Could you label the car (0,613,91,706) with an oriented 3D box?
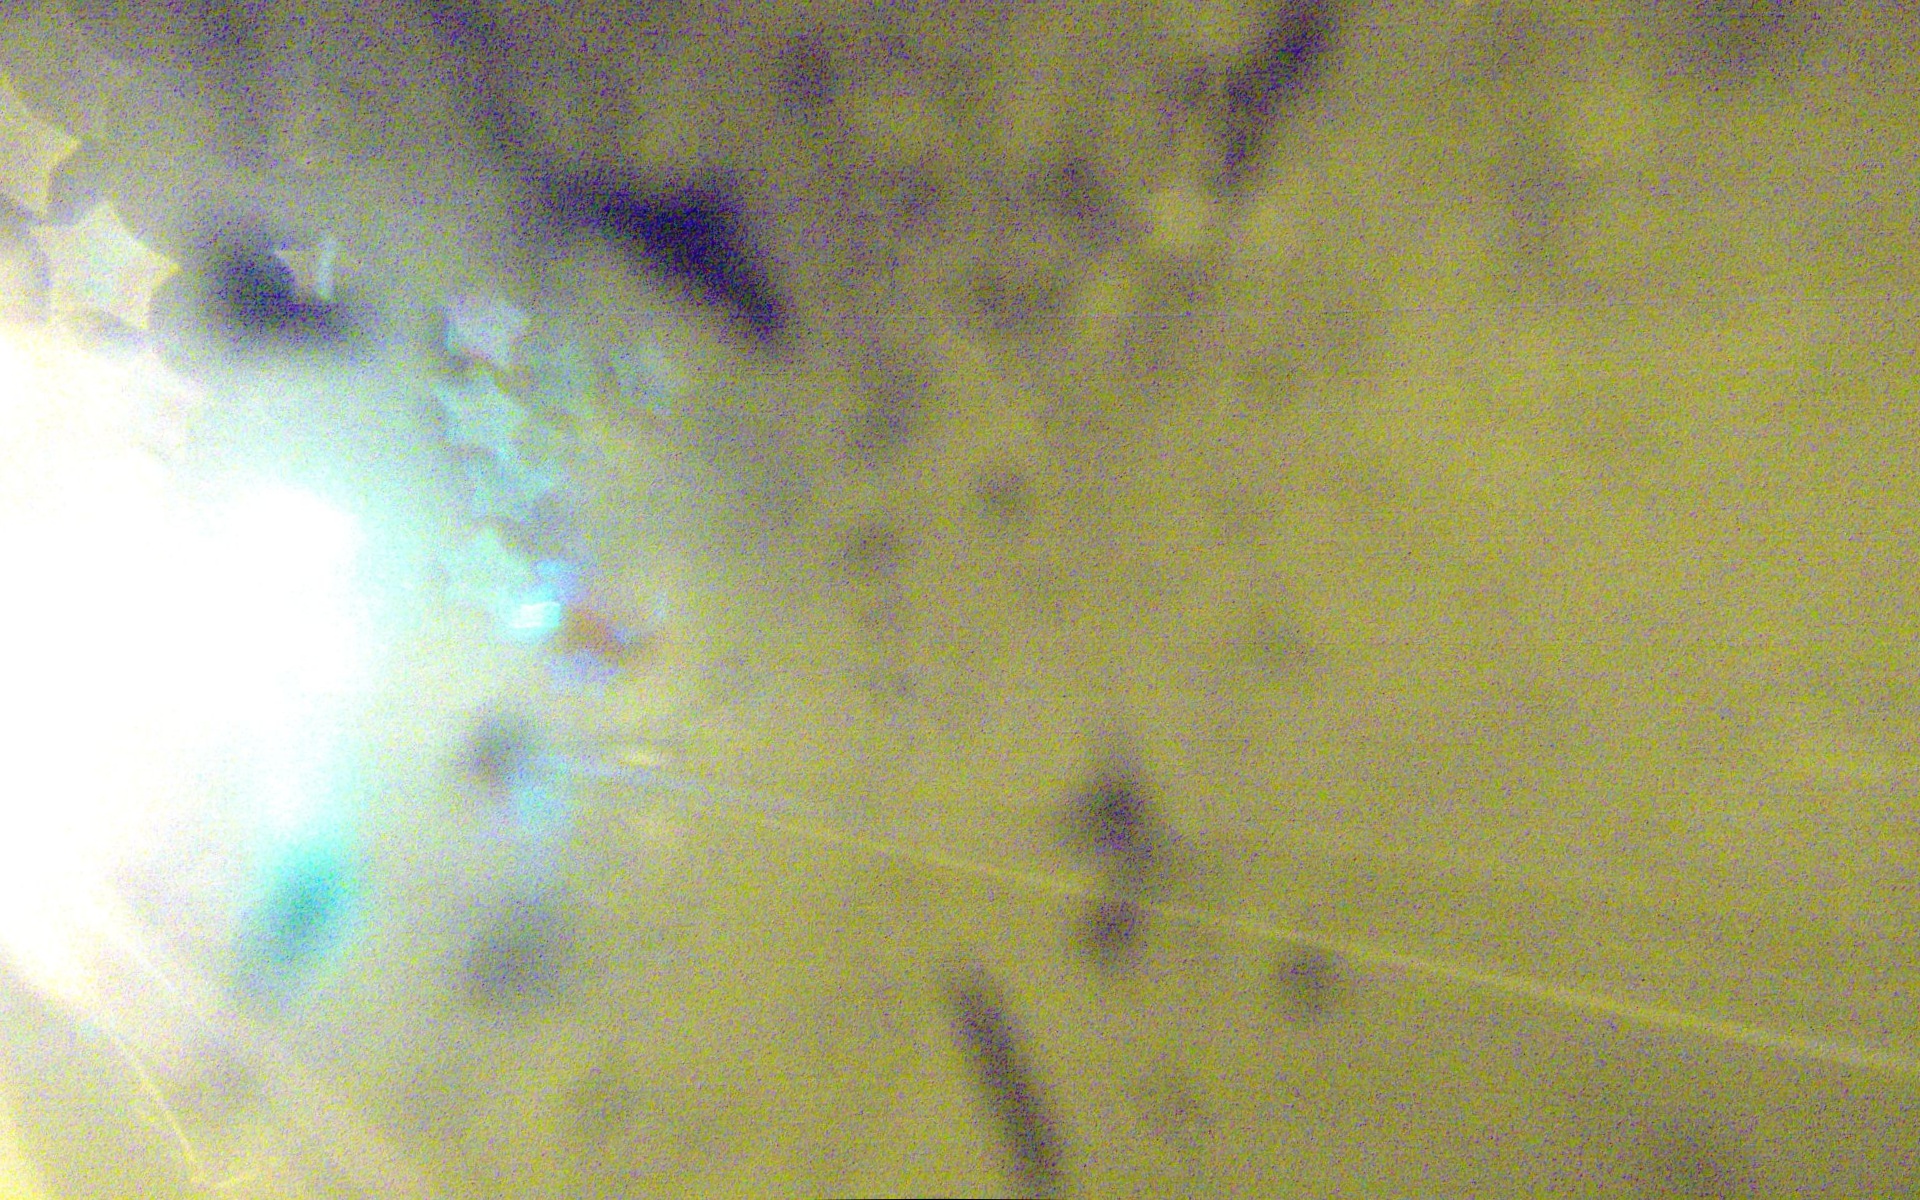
[{"bbox_3d":[-17.315,1.067,18.602,4.052,1.561,1.504,-3,-2,42],"label":"car"}]
